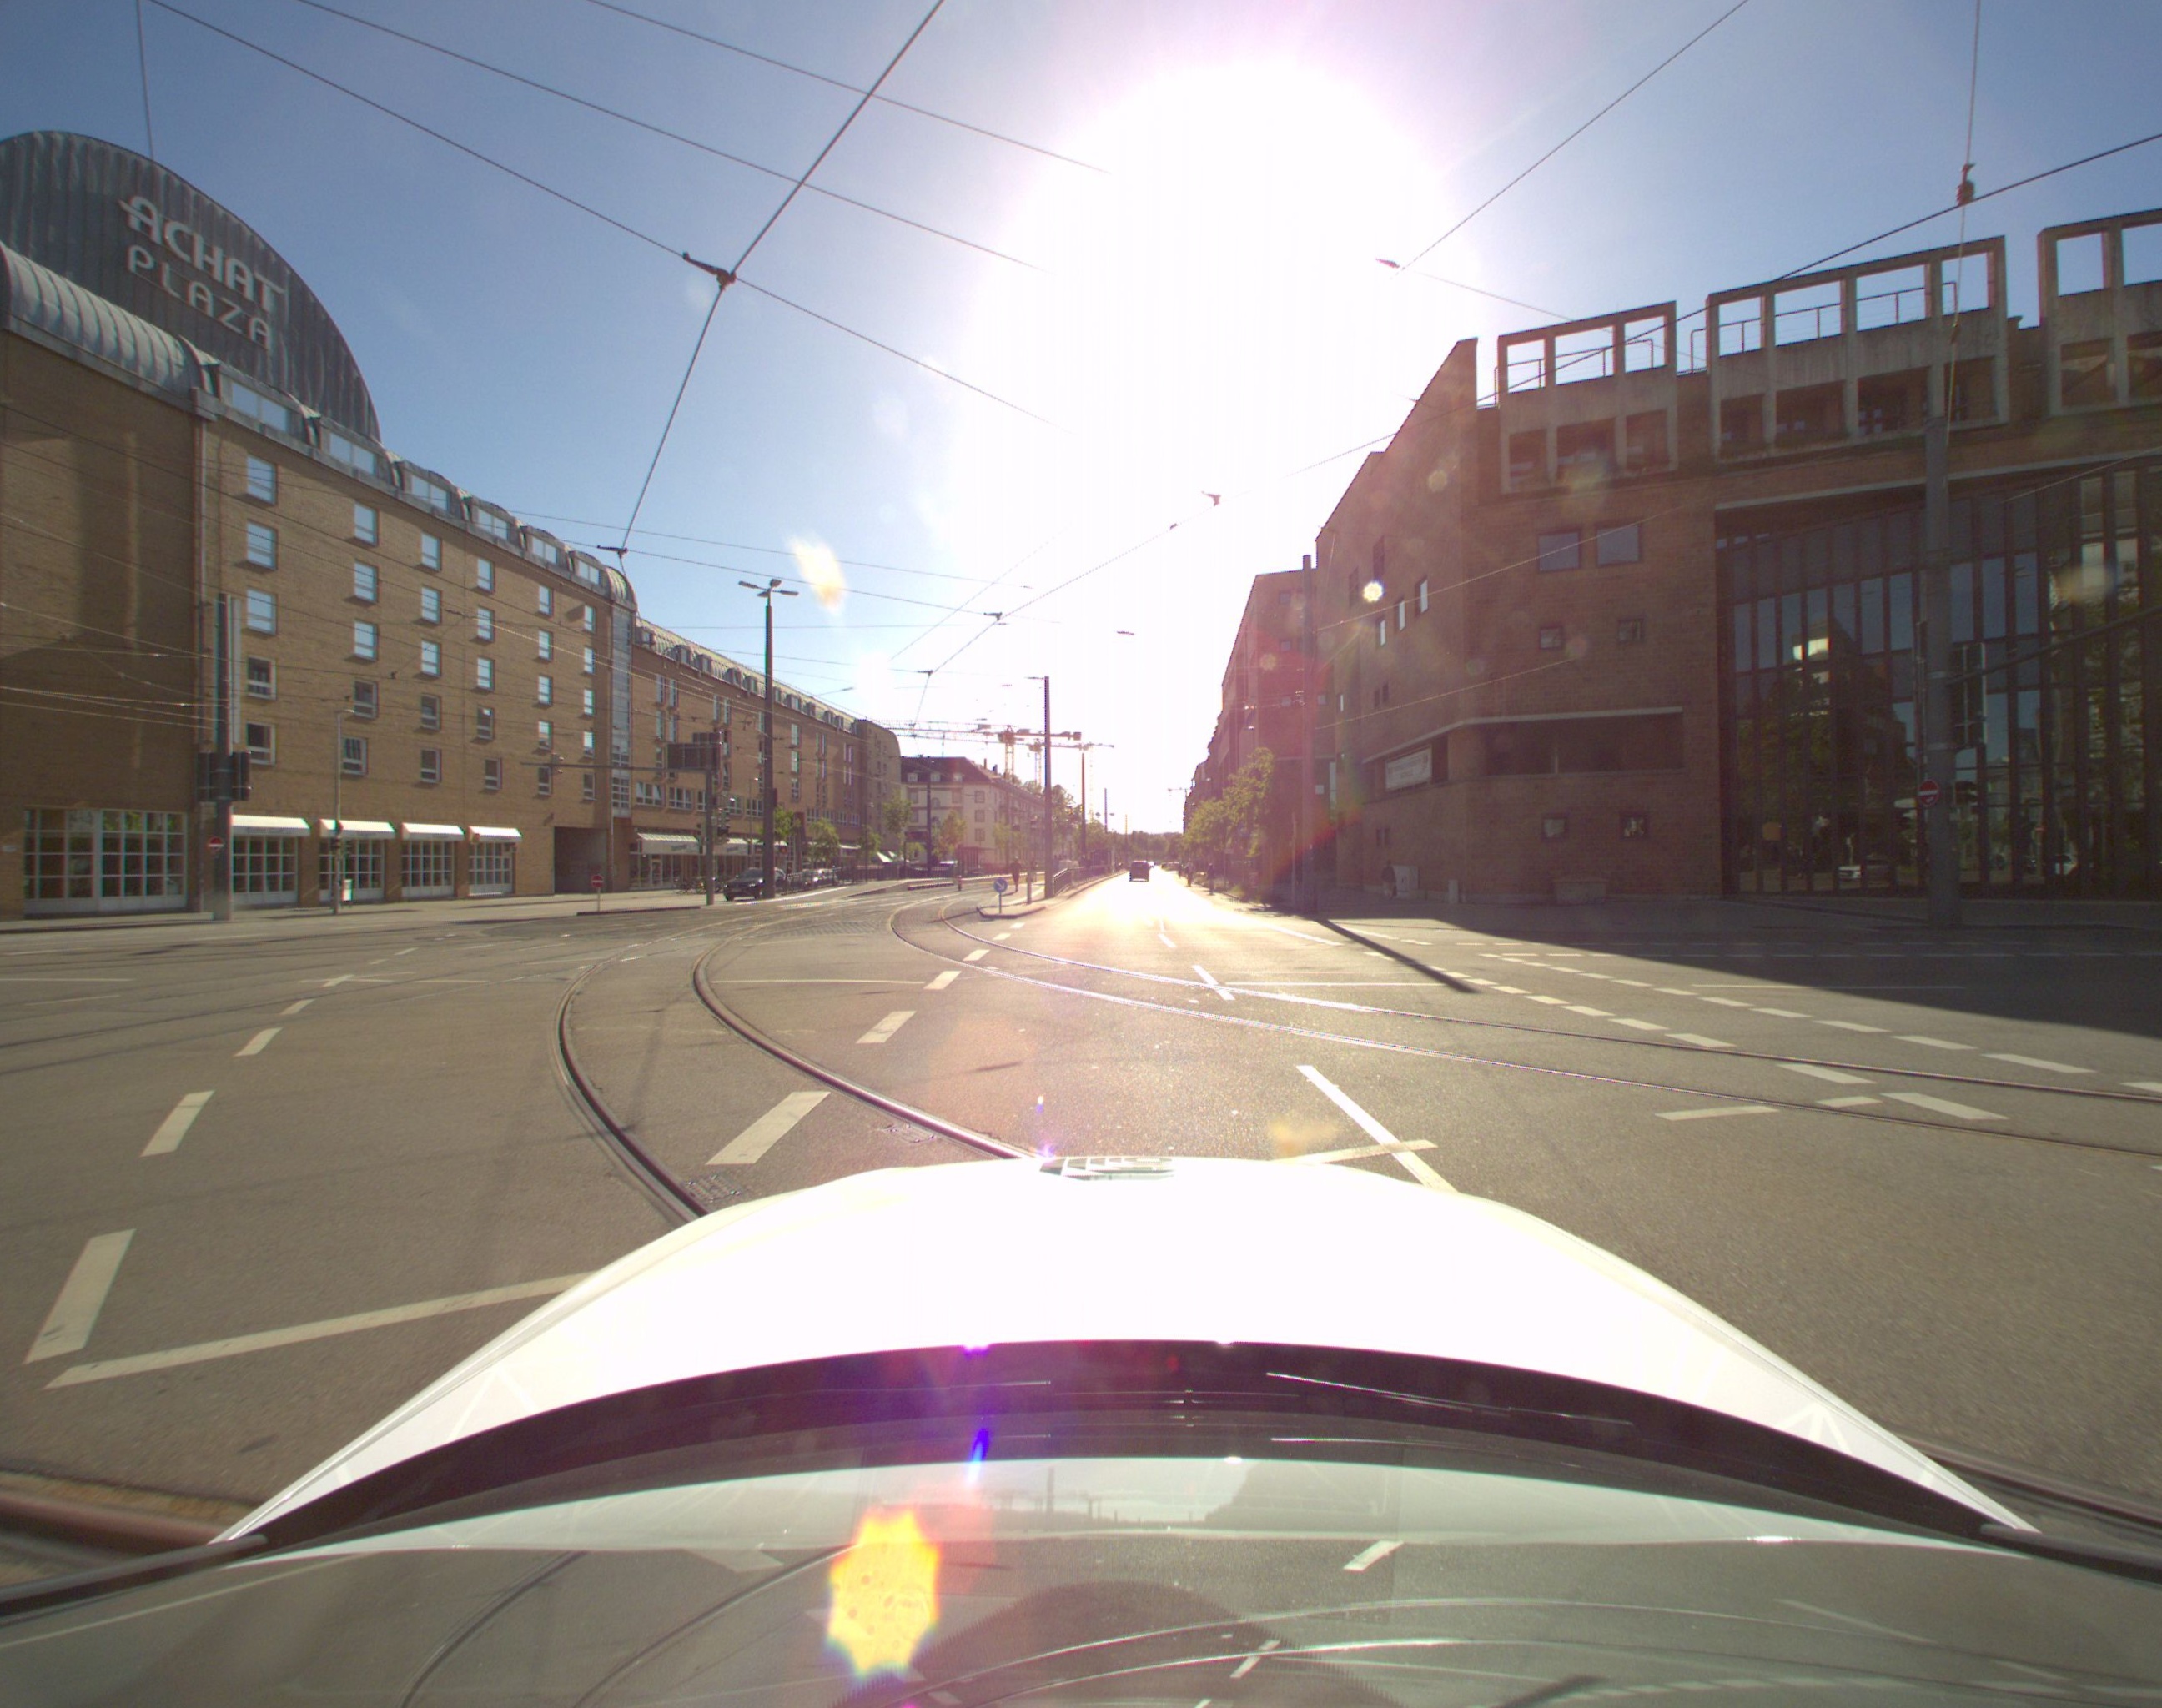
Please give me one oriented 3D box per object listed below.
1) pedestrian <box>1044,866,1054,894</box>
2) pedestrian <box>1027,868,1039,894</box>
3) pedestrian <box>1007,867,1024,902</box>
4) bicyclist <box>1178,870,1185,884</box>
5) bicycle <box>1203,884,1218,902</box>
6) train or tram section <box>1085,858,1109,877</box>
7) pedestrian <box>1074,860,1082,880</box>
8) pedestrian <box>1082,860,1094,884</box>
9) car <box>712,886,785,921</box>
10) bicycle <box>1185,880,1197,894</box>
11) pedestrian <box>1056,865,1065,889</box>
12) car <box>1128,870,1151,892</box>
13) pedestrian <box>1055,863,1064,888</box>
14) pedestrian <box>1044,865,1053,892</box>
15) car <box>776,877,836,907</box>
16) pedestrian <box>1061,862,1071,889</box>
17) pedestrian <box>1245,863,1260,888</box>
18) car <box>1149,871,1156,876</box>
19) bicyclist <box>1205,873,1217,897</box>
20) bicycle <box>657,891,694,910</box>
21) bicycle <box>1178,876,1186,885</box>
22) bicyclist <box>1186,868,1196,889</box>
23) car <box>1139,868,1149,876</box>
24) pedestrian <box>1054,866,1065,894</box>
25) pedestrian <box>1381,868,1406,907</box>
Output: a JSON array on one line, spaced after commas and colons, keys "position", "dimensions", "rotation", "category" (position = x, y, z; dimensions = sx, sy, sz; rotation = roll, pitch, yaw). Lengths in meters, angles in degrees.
[{"position": [-1.943, 1.594, 49.565], "dimensions": [0.508, 1.655, 0.762], "rotation": [-1, -2, 3], "category": "pedestrian"}, {"position": [-2.925, 1.654, 49.915], "dimensions": [0.598, 1.566, 0.914], "rotation": [-1, -1, 3], "category": "pedestrian"}, {"position": [-3.213, 1.485, 40.046], "dimensions": [0.612, 1.669, 0.865], "rotation": [-3, -1, 2], "category": "pedestrian"}, {"position": [11.203, 2.530, 90.731], "dimensions": [0.664, 1.527, 0.707], "rotation": [0, -1, 2], "category": "bicyclist"}, {"position": [7.361, 2.225, 46.417], "dimensions": [0.600, 0.985, 2.316], "rotation": [0, -1, 3], "category": "bicycle"}, {"position": [2.616, 2.149, 131.829], "dimensions": [2.314, 3.003, 13.187], "rotation": [0, -1, 8], "category": "train or tram section"}, {"position": [-0.270, 1.310, 67.858], "dimensions": [0.598, 1.655, 0.666], "rotation": [-1, -2, 2], "category": "pedestrian"}, {"position": [0.536, 1.338, 59.770], "dimensions": [0.717, 1.735, 0.599], "rotation": [0, -2, -14], "category": "pedestrian"}, {"position": [-16.134, 2.372, 39.744], "dimensions": [1.602, 1.398, 3.925], "rotation": [-4, -1, 5], "category": "car"}, {"position": [8.121, 2.427, 60.168], "dimensions": [0.664, 0.985, 2.587], "rotation": [0, -1, 3], "category": "bicycle"}, {"position": [-1.462, 1.643, 58.461], "dimensions": [0.536, 1.655, 0.634], "rotation": [-1, -2, 3], "category": "pedestrian"}, {"position": [5.280, 2.407, 73.780], "dimensions": [1.985, 1.948, 4.002], "rotation": [-1, -1, 3], "category": "car"}, {"position": [-1.337, 1.367, 51.300], "dimensions": [0.517, 1.551, 0.600], "rotation": [-1, -2, 0], "category": "pedestrian"}, {"position": [-2.181, 1.624, 54.169], "dimensions": [0.536, 1.774, 0.634], "rotation": [-1, -2, 3], "category": "pedestrian"}, {"position": [-15.751, 2.157, 46.853], "dimensions": [1.602, 1.398, 4.233], "rotation": [-4, -1, 5], "category": "car"}, {"position": [-0.891, 1.309, 49.882], "dimensions": [0.536, 1.655, 0.707], "rotation": [-1, -2, 3], "category": "pedestrian"}, {"position": [11.744, 1.476, 55.815], "dimensions": [0.876, 1.717, 0.932], "rotation": [-1, -1, 2], "category": "pedestrian"}, {"position": [20.087, 5.546, 229.121], "dimensions": [1.984, 1.420, 4.005], "rotation": [-1, -1, 4], "category": "car"}, {"position": [7.330, 1.715, 45.863], "dimensions": [0.590, 1.336, 0.934], "rotation": [0, -1, 3], "category": "bicyclist"}, {"position": [-28.625, 3.262, 57.539], "dimensions": [2.466, 1.310, 0.736], "rotation": [-1, -1, 14], "category": "bicycle"}, {"position": [11.217, 2.971, 90.571], "dimensions": [0.664, 0.985, 2.587], "rotation": [0, -1, 3], "category": "bicycle"}, {"position": [8.105, 1.778, 60.055], "dimensions": [0.664, 1.527, 0.707], "rotation": [0, -1, 2], "category": "bicyclist"}, {"position": [12.907, 3.651, 166.504], "dimensions": [1.985, 1.728, 4.002], "rotation": [-1, -1, 3], "category": "car"}, {"position": [-1.310, 1.575, 49.715], "dimensions": [0.536, 1.655, 0.896], "rotation": [-1, -2, 3], "category": "pedestrian"}, {"position": [12.723, 1.355, 33.167], "dimensions": [0.615, 1.563, 0.987], "rotation": [-1, -2, 2], "category": "pedestrian"}]
